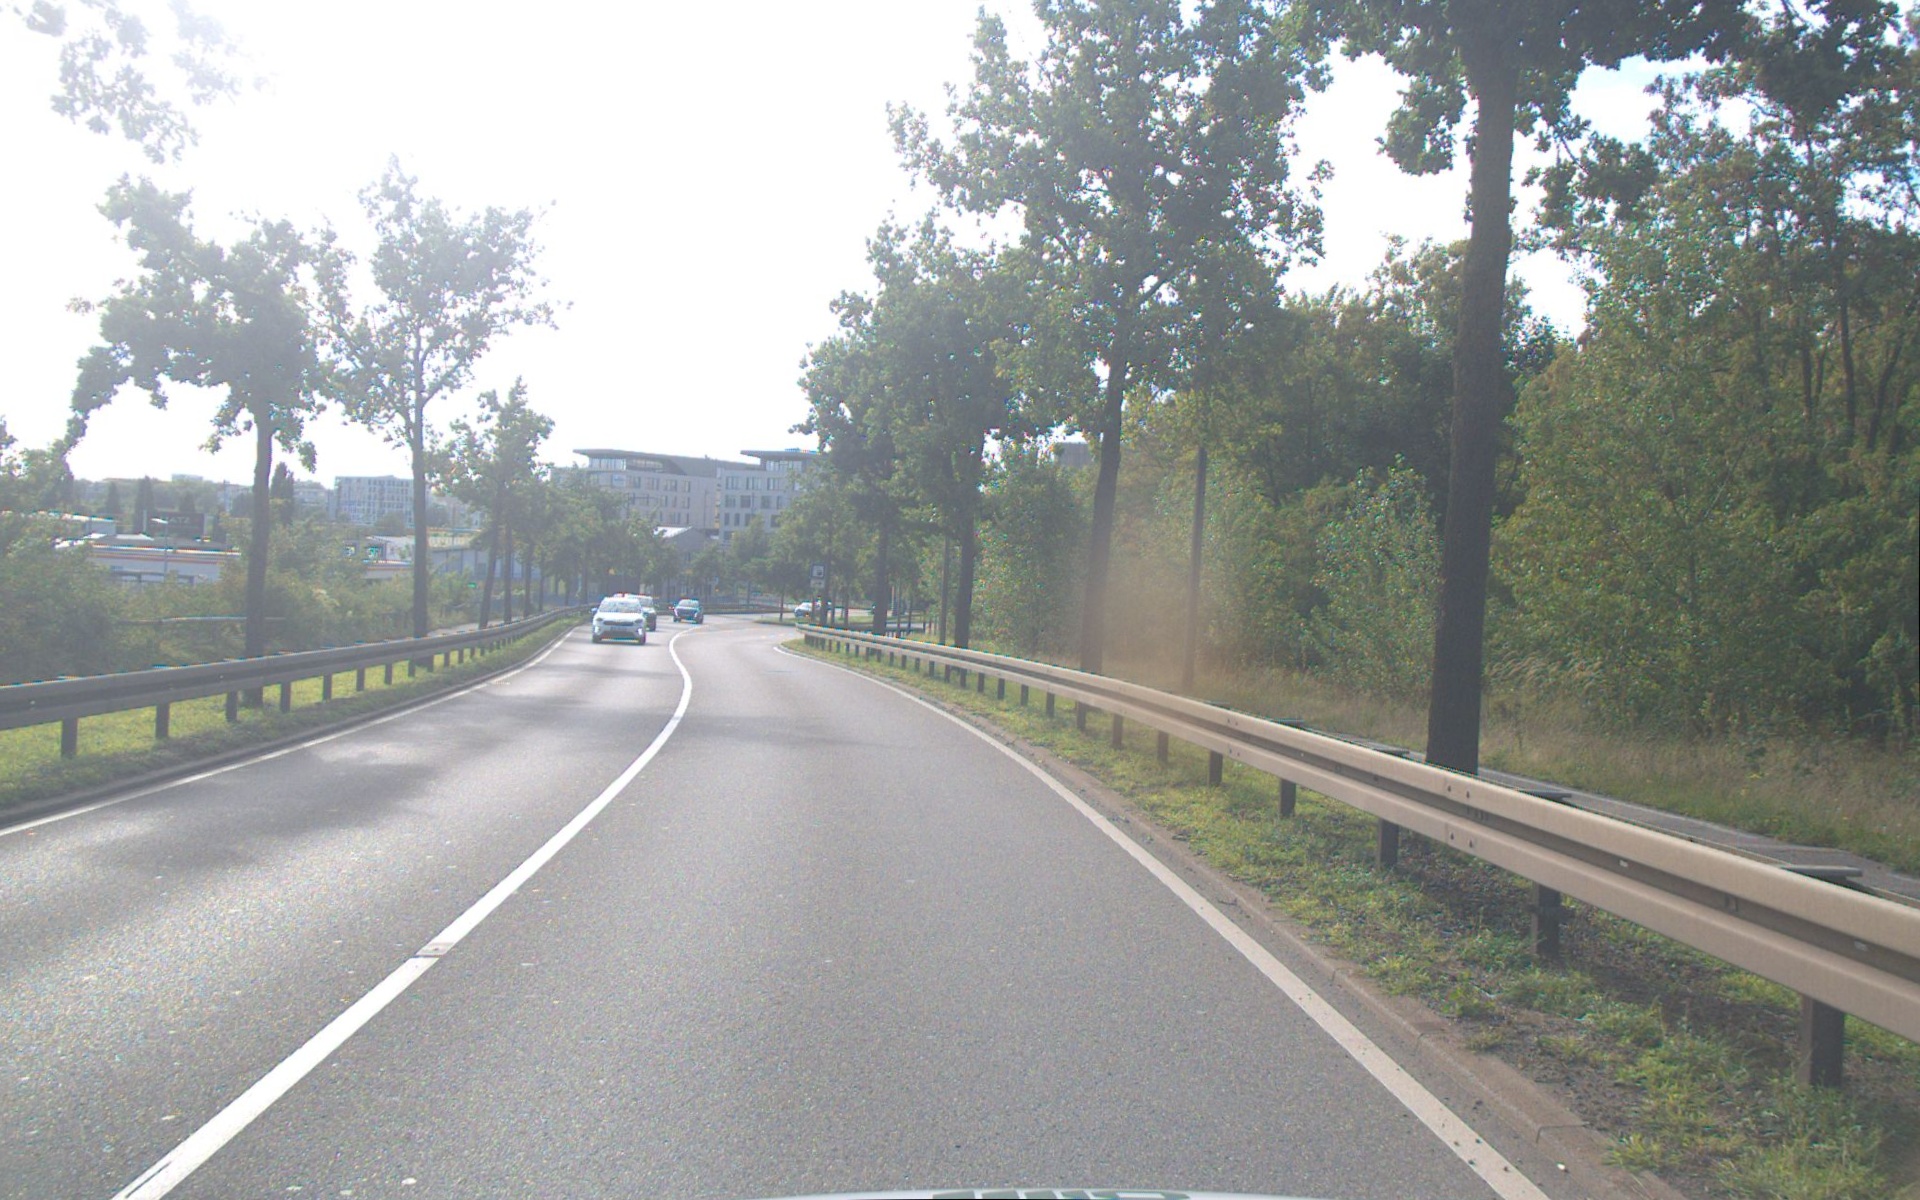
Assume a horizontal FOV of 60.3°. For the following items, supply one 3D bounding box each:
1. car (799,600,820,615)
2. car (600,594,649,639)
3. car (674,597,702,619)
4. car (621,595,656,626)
[{"bbox_3d":[-15.057,0.700,165.368,1.534,1.450,3.593,1,0,4],"label":"car"},{"bbox_3d":[-11.648,0.555,57.533,1.539,1.450,3.582,2,0,-10],"label":"car"},{"bbox_3d":[-18.804,0.527,114.355,1.536,1.450,3.588,1,0,-3],"label":"car"},{"bbox_3d":[-16.003,0.511,82.499,1.538,1.450,3.583,1,0,-9],"label":"car"}]
